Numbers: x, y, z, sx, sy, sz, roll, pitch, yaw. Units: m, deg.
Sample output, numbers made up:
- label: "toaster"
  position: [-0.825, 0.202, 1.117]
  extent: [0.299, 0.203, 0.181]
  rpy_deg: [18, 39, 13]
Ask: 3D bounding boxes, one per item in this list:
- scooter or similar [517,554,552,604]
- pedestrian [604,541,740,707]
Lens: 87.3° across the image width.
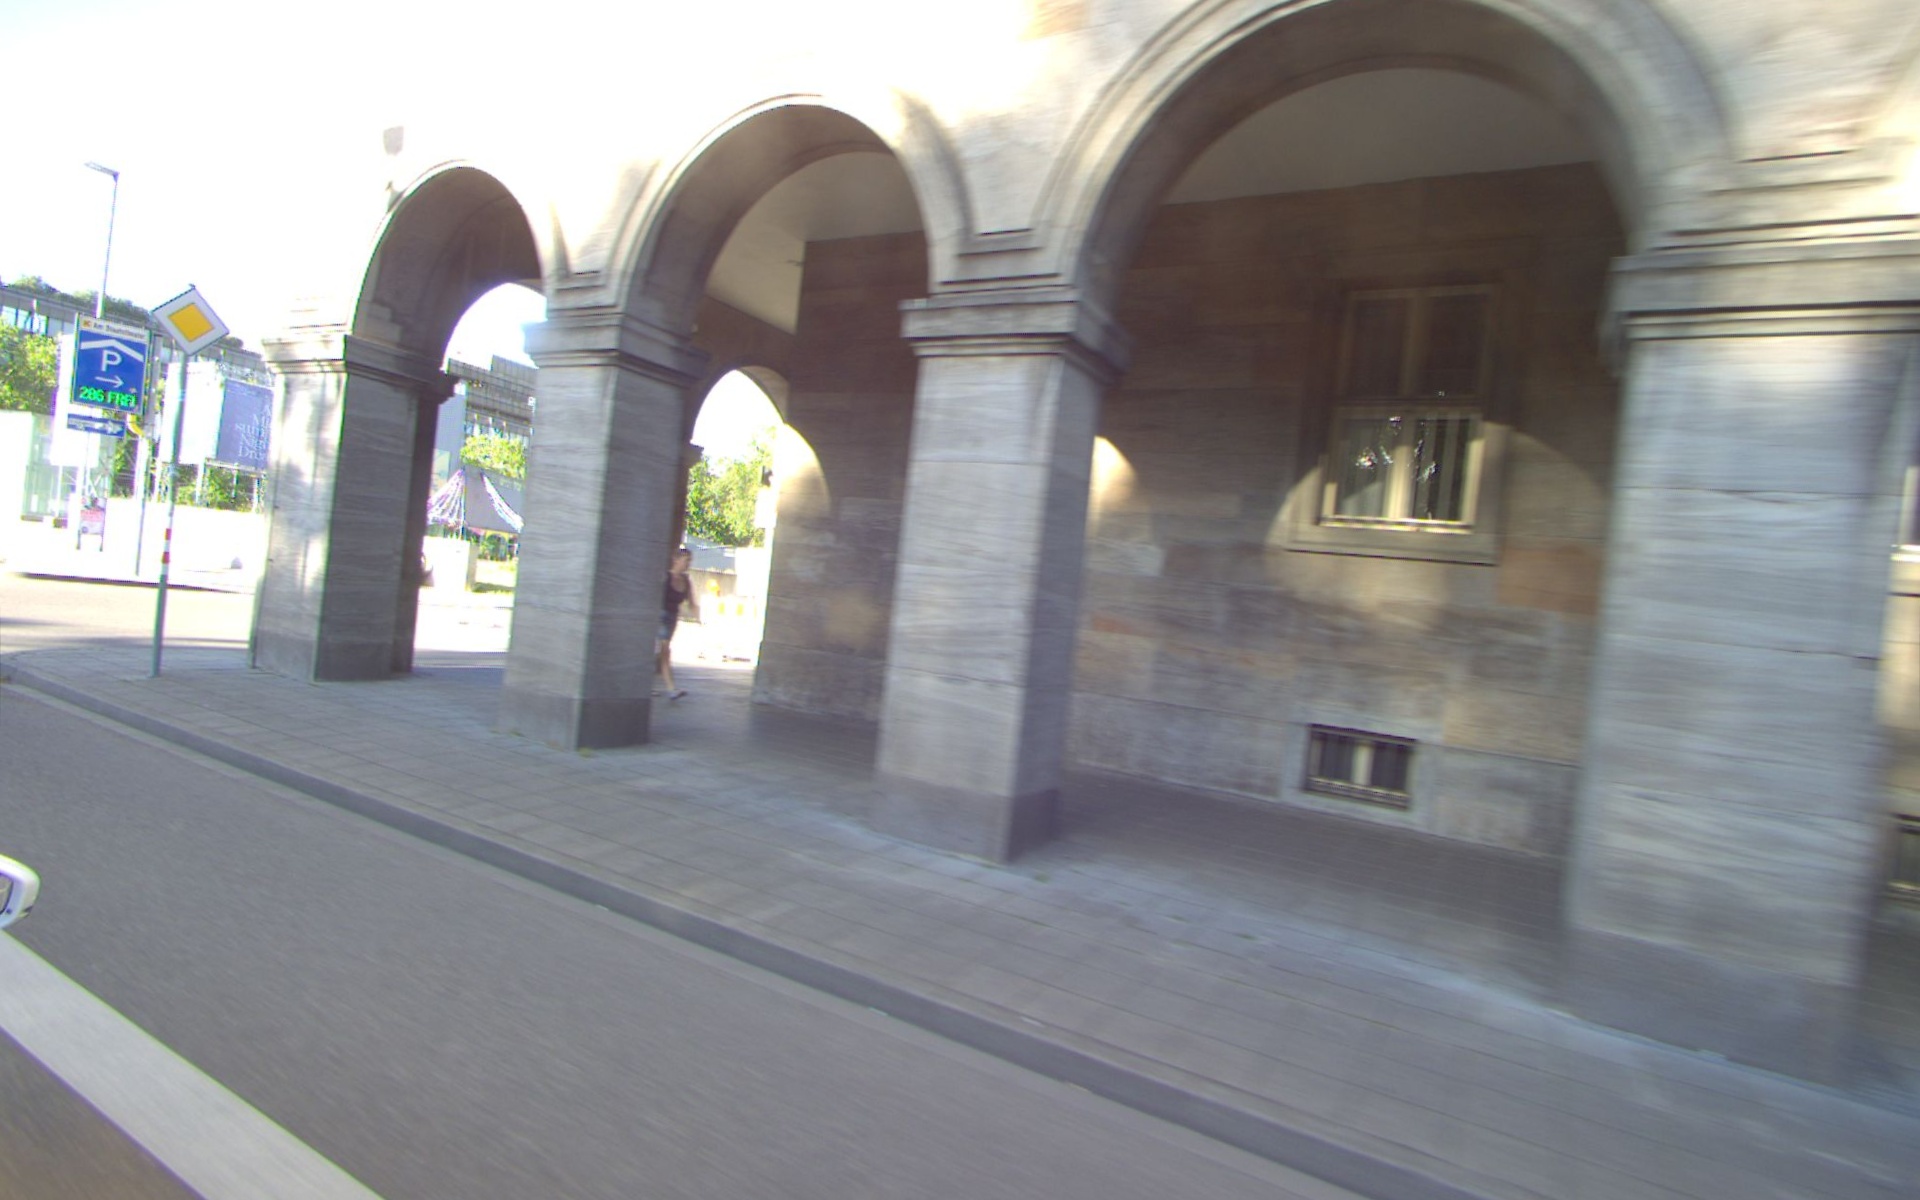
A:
- label: "scooter or similar"
  position: [-11.691, -0.590, 27.622]
  extent: [0.359, 1.261, 1.351]
  rpy_deg: [4, 2, -43]
- label: "pedestrian"
  position: [-3.029, 0.252, 10.605]
  extent: [0.936, 1.589, 0.777]
  rpy_deg: [8, 1, 28]
